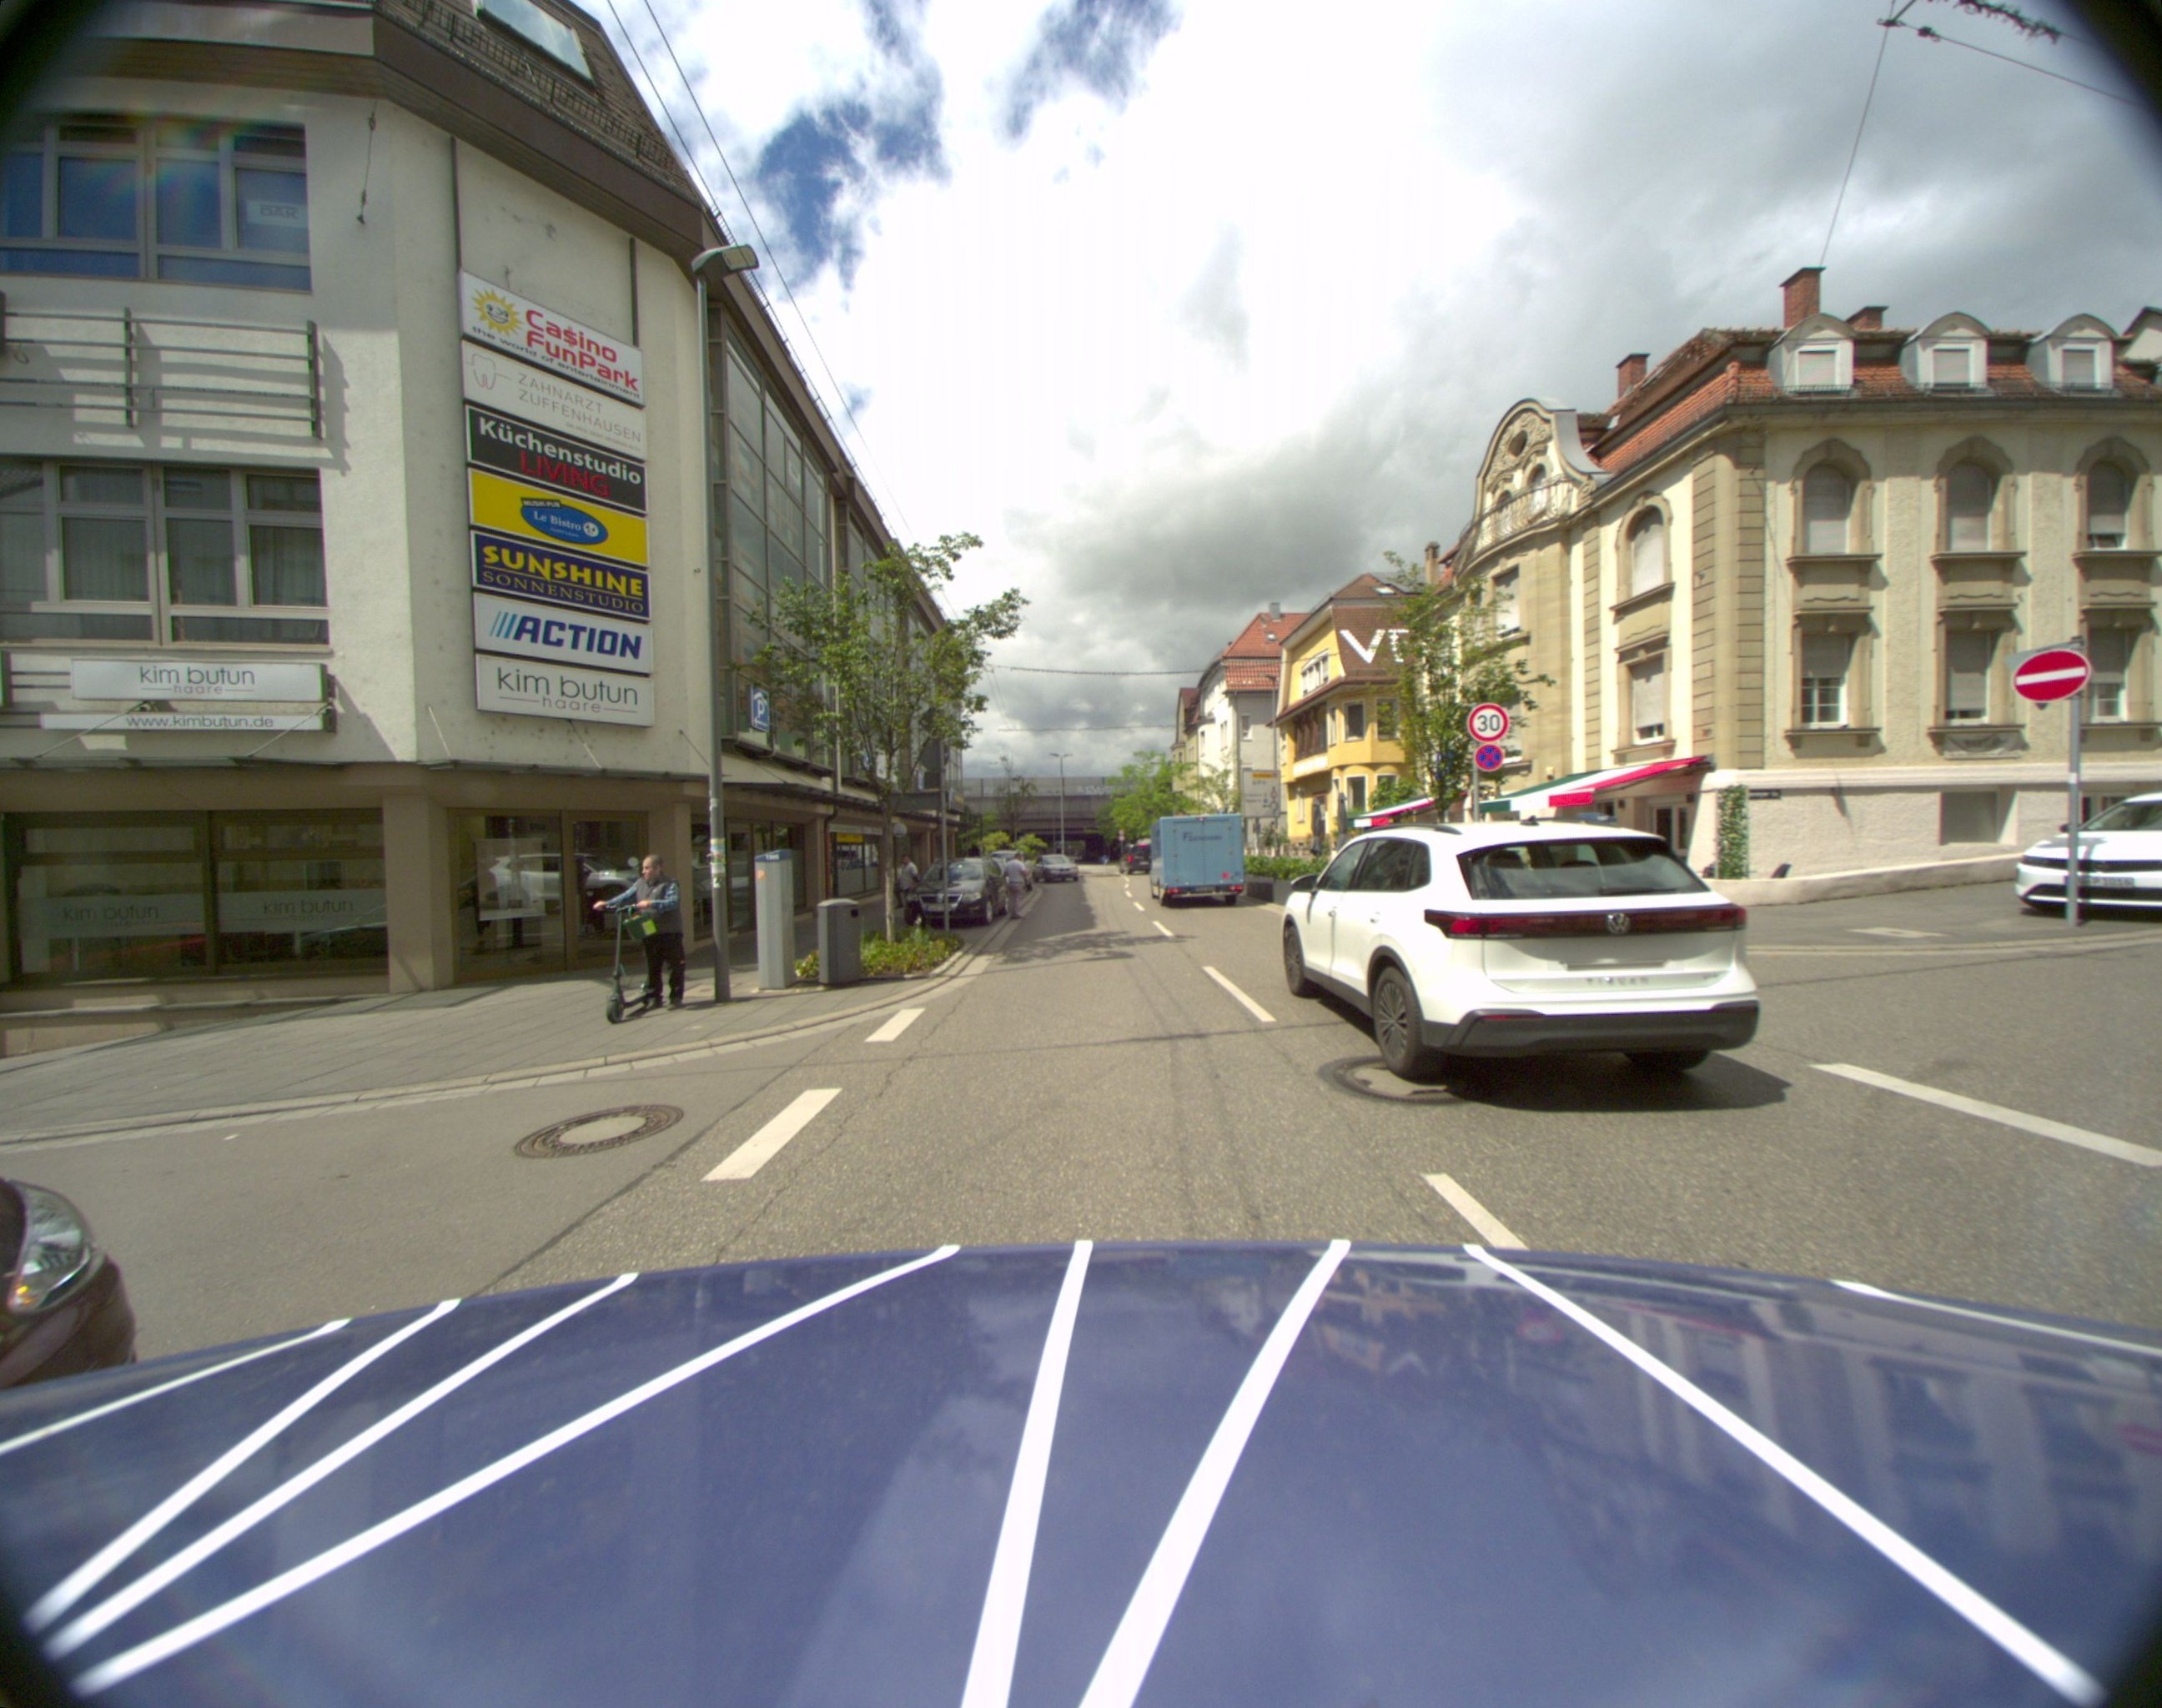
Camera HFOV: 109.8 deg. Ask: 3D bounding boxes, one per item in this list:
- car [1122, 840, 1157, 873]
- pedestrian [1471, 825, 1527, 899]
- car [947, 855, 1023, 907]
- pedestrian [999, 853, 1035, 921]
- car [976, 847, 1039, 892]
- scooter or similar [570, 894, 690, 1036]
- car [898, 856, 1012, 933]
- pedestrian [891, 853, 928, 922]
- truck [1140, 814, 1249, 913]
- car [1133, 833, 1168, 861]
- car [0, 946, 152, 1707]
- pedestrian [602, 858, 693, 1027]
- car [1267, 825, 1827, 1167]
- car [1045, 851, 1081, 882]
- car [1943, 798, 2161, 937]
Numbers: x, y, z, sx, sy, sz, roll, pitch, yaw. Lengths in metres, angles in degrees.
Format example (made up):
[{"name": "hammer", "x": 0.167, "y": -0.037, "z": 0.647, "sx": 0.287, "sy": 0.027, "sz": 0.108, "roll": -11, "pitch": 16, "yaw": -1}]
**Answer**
[{"name": "car", "x": 3.654, "y": 0.159, "z": 48.008, "sx": 1.876, "sy": 1.921, "sz": 5.177, "roll": -2, "pitch": 0, "yaw": 1}, {"name": "pedestrian", "x": 10.309, "y": 0.197, "z": 18.758, "sx": 0.801, "sy": 1.746, "sz": 0.811, "roll": -4, "pitch": 2, "yaw": -15}, {"name": "car", "x": -3.023, "y": 0.793, "z": 24.722, "sx": 1.857, "sy": 1.436, "sz": 4.535, "roll": -2, "pitch": 1, "yaw": 0}, {"name": "pedestrian", "x": -1.542, "y": 0.782, "z": 18.239, "sx": 0.584, "sy": 1.591, "sz": 0.549, "roll": -2, "pitch": 2, "yaw": 21}, {"name": "car", "x": -2.866, "y": 0.565, "z": 30.517, "sx": 1.825, "sy": 1.652, "sz": 4.467, "roll": 0, "pitch": 1, "yaw": 4}, {"name": "scooter or similar", "x": -4.691, "y": 1.111, "z": 7.983, "sx": 0.432, "sy": 1.273, "sz": 1.249, "roll": -3, "pitch": 2, "yaw": 0}, {"name": "car", "x": -2.739, "y": 0.824, "z": 17.564, "sx": 1.719, "sy": 1.445, "sz": 4.552, "roll": -2, "pitch": 1, "yaw": 2}, {"name": "pedestrian", "x": -4.042, "y": 0.779, "z": 17.887, "sx": 0.661, "sy": 1.553, "sz": 0.477, "roll": -3, "pitch": 2, "yaw": 1}, {"name": "truck", "x": 3.017, "y": 0.154, "z": 21.704, "sx": 2.111, "sy": 2.292, "sz": 6.474, "roll": -3, "pitch": 1, "yaw": 1}, {"name": "car", "x": 7.131, "y": -0.754, "z": 78.873, "sx": 2.309, "sy": 2.657, "sz": 7.265, "roll": -3, "pitch": 1, "yaw": -4}, {"name": "car", "x": -4.026, "y": 1.078, "z": 1.008, "sx": 3.755, "sy": 1.521, "sz": 1.537, "roll": -3, "pitch": 2, "yaw": 3}, {"name": "pedestrian", "x": -4.560, "y": 0.907, "z": 8.027, "sx": 0.572, "sy": 1.693, "sz": 0.481, "roll": -3, "pitch": 2, "yaw": -2}, {"name": "car", "x": 2.845, "y": 0.675, "z": 5.864, "sx": 1.792, "sy": 1.630, "sz": 4.115, "roll": -3, "pitch": 1, "yaw": 1}, {"name": "car", "x": -0.923, "y": 0.630, "z": 40.913, "sx": 1.724, "sy": 1.517, "sz": 3.598, "roll": -2, "pitch": 1, "yaw": 1}, {"name": "car", "x": 13.526, "y": 0.038, "z": 9.240, "sx": 4.388, "sy": 1.373, "sz": 1.998, "roll": -4, "pitch": 1, "yaw": -10}]
